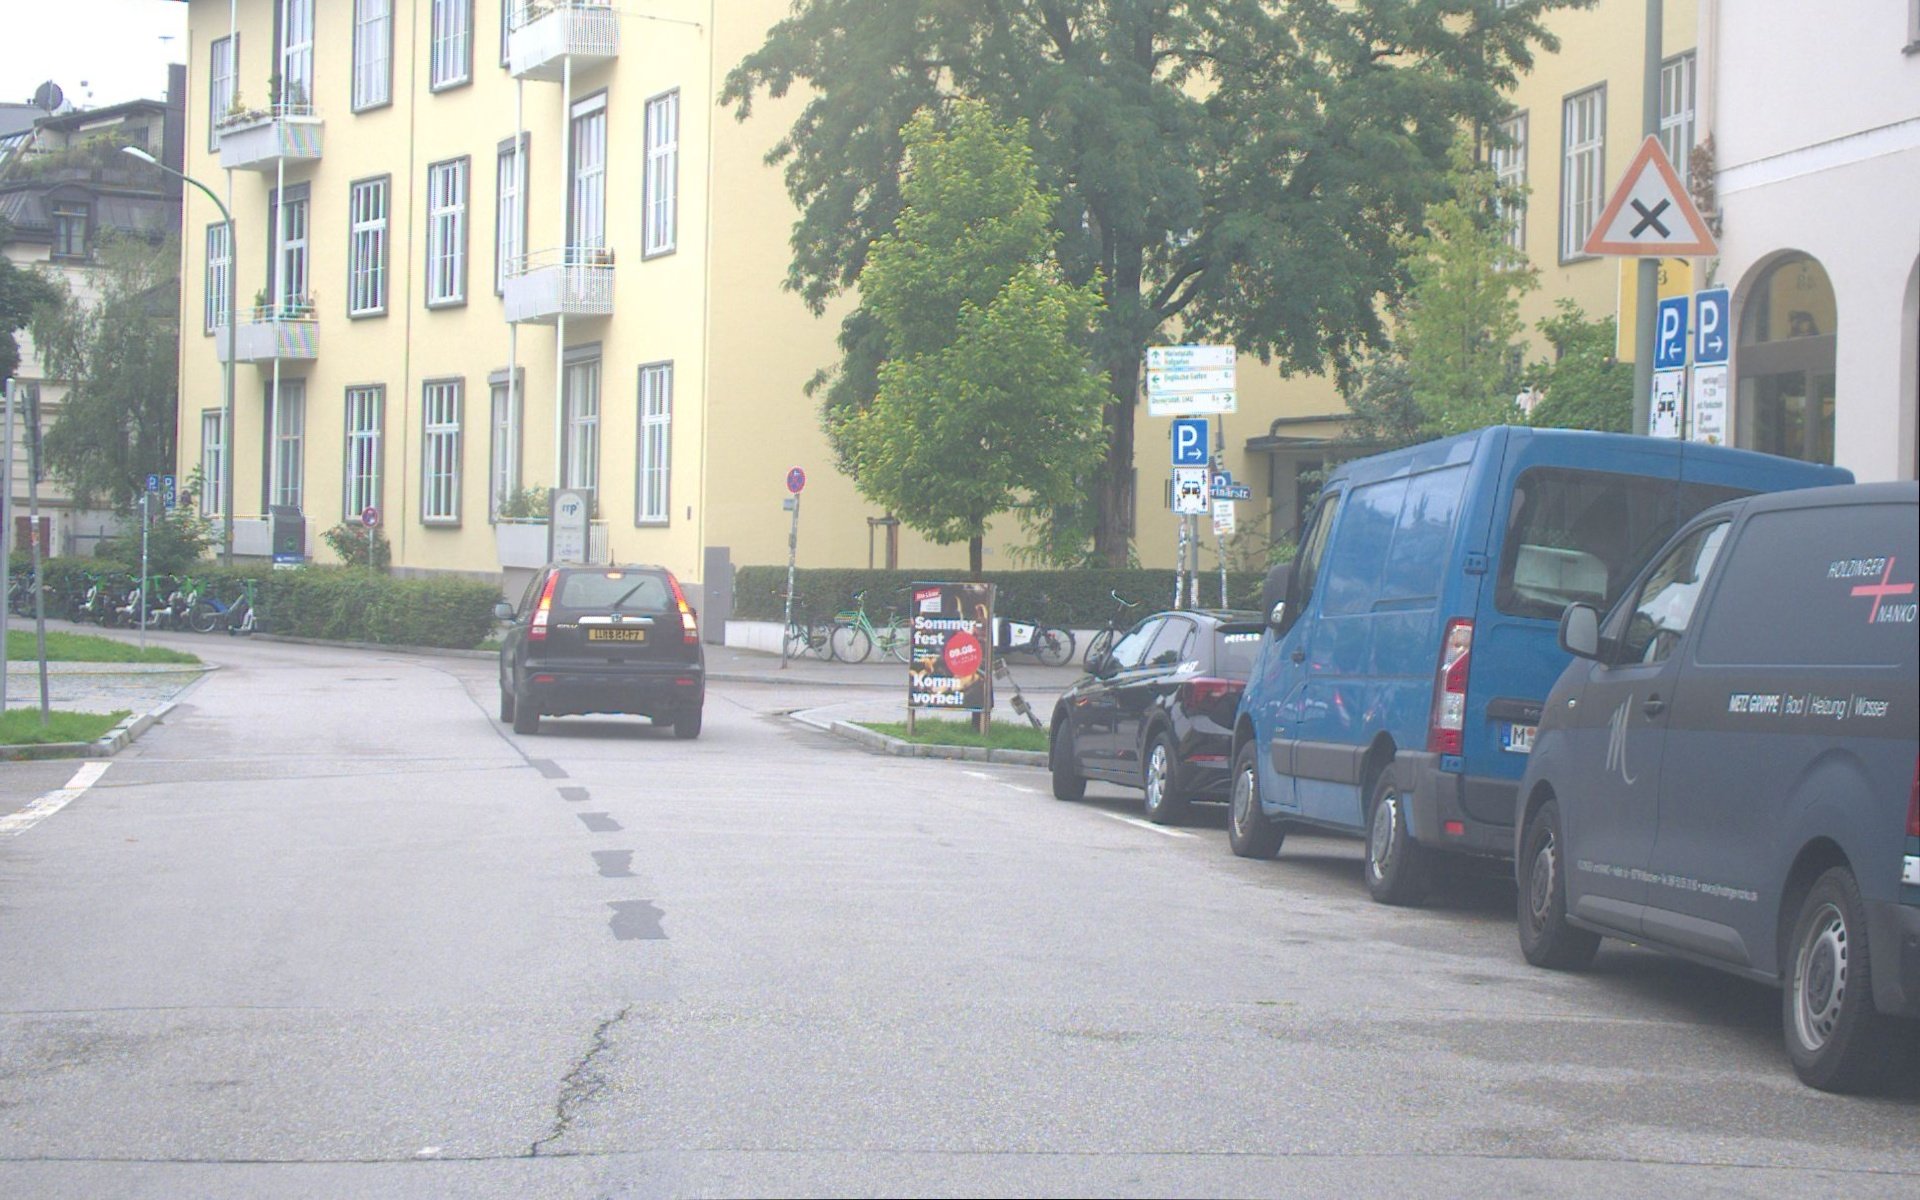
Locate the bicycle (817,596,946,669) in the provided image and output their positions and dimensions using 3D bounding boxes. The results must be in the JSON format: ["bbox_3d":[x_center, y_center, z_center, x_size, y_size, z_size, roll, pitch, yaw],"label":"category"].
[{"bbox_3d":[-1.270,0.516,55.310,2.215,1.113,0.609,2,1,41],"label":"bicycle"}]

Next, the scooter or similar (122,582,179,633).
[{"bbox_3d":[-17.600,0.152,74.771,0.495,1.084,1.408,1,1,20],"label":"scooter or similar"}]

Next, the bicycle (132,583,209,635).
[{"bbox_3d":[-17.090,0.190,74.468,0.576,1.082,1.931,1,1,24],"label":"bicycle"}]

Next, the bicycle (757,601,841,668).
[{"bbox_3d":[-2.696,0.564,57.401,0.608,1.069,2.218,0,1,-24],"label":"bicycle"}]

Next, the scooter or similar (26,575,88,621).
[{"bbox_3d":[-21.354,-0.044,81.290,1.404,1.084,0.597,0,1,-15],"label":"scooter or similar"}]

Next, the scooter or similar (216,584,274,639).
[{"bbox_3d":[-14.693,0.237,70.662,0.495,1.105,1.408,1,1,20],"label":"scooter or similar"}]

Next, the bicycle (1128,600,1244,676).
[{"bbox_3d":[3.569,0.596,54.248,1.734,1.146,0.610,1,0,-3],"label":"bicycle"}]

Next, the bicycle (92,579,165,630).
[{"bbox_3d":[-18.144,0.085,75.054,0.637,1.082,1.984,1,1,16],"label":"bicycle"}]

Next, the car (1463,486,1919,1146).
[{"bbox_3d":[3.358,0.650,11.971,1.964,1.810,4.936,5,0,-5],"label":"car"}]

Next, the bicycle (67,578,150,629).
[{"bbox_3d":[-18.745,0.068,75.719,0.696,1.082,2.337,1,1,16],"label":"bicycle"}]

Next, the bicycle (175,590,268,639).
[{"bbox_3d":[-15.433,0.296,71.878,1.823,1.002,0.577,0,1,-35],"label":"bicycle"}]

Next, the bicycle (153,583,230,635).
[{"bbox_3d":[-16.528,0.190,73.966,0.576,1.082,1.931,1,1,24],"label":"bicycle"}]

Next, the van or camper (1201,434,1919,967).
[{"bbox_3d":[2.825,0.412,17.738,2.060,2.223,5.439,3,0,-7],"label":"van or camper"}]

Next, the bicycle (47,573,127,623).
[{"bbox_3d":[-19.650,-0.046,77.398,0.763,1.082,2.139,1,1,16],"label":"bicycle"}]

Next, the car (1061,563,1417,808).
[{"bbox_3d":[1.836,0.528,23.826,1.703,1.513,3.959,2,0,-6],"label":"car"}]

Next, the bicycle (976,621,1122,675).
[{"bbox_3d":[1.407,0.751,54.114,2.211,0.776,0.610,2,0,13],"label":"bicycle"}]

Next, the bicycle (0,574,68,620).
[{"bbox_3d":[-22.743,-0.081,82.821,2.332,1.082,0.692,0,1,-38],"label":"bicycle"}]

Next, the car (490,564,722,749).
[{"bbox_3d":[-3.608,0.507,34.384,1.995,1.688,4.381,1,0,-9],"label":"car"}]
